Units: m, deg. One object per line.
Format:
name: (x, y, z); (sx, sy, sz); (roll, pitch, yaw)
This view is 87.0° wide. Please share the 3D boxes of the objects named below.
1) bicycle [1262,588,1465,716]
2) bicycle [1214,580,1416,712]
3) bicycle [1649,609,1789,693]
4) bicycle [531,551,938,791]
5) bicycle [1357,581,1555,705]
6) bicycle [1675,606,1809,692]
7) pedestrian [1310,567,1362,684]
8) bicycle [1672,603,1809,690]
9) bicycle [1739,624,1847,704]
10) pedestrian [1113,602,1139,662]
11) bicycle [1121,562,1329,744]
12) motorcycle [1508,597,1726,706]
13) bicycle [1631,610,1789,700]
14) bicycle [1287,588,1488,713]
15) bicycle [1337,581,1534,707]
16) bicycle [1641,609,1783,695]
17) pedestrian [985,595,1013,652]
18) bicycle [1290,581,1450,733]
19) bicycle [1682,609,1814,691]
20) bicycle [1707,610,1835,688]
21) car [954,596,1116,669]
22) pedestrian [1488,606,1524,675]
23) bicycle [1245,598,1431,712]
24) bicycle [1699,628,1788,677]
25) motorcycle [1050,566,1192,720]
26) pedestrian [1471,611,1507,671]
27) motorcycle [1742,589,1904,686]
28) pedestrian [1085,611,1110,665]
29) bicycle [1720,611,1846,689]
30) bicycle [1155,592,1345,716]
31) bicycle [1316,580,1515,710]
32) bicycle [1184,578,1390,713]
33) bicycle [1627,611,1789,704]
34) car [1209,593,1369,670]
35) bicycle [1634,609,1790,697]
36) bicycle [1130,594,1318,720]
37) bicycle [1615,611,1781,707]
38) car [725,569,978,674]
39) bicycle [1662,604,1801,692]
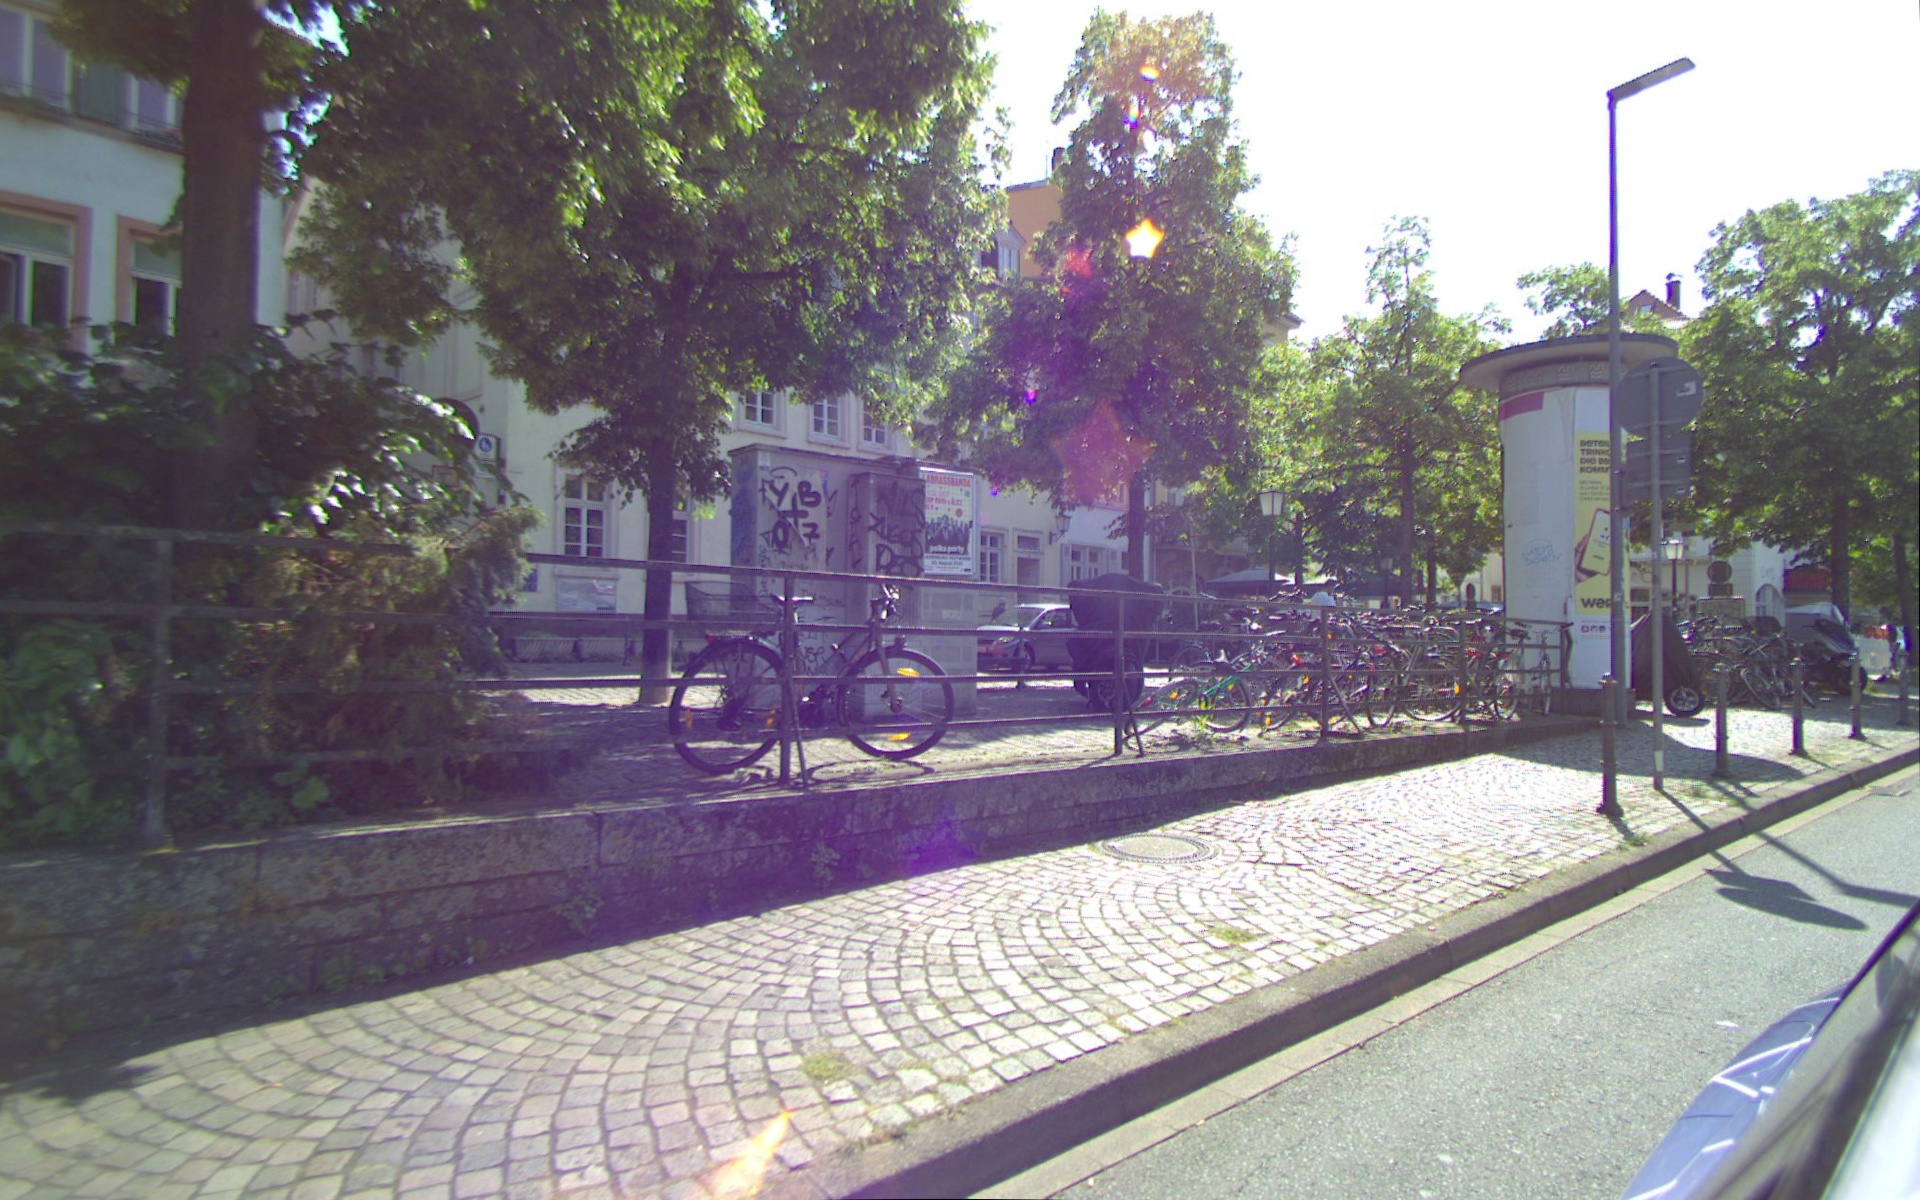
bicycle: (4.493, 0.529, 11.443); (0.468, 1.277, 2.160); (1, 1, -39)
bicycle: (3.796, 0.445, 11.014); (0.414, 1.277, 2.160); (1, 1, -39)
bicycle: (11.512, 0.747, 15.383); (0.406, 1.147, 1.629); (1, 1, -43)
bicycle: (-1.063, 0.336, 5.266); (2.123, 1.062, 0.301); (2, 0, -39)
bicycle: (6.139, 0.479, 12.665); (0.574, 1.385, 2.160); (1, 1, -39)
bicycle: (12.480, 0.755, 16.195); (0.406, 1.232, 1.629); (1, 1, -43)
pedestrian: (5.845, 0.394, 15.751); (0.492, 1.768, 0.541); (1, -3, -37)
bicycle: (12.201, 0.700, 15.864); (0.406, 1.232, 1.629); (1, 1, -43)
bicycle: (11.450, 0.852, 13.895); (1.718, 1.021, 0.541); (1, -1, -29)
pedestrian: (4.617, 0.877, 28.169); (0.616, 1.633, 0.425); (1, -1, -39)
bicycle: (2.143, 0.367, 7.979); (2.125, 1.277, 0.476); (0, 1, -42)
motorcycle: (8.504, 0.608, 13.291); (0.709, 1.291, 2.543); (0, 0, -17)
bicycle: (10.728, 0.758, 14.528); (0.456, 1.147, 1.751); (1, 1, -43)
bicycle: (4.894, 0.530, 11.738); (0.468, 1.277, 2.160); (1, 1, -39)
bicycle: (5.726, 0.478, 12.329); (0.468, 1.385, 2.160); (1, 1, -39)
bicycle: (11.190, 0.750, 15.105); (0.406, 1.147, 1.629); (1, 1, -43)
pedestrian: (1.028, 0.608, 26.814); (0.557, 1.495, 0.508); (1, -1, -39)
bicycle: (3.847, 0.478, 9.398); (2.125, 1.277, 0.476); (0, 1, -42)
bicycle: (12.718, 0.779, 16.377); (0.344, 1.184, 1.629); (1, 1, -43)
bicycle: (13.324, 0.782, 16.676); (0.416, 1.185, 1.636); (2, 0, -21)
car: (1.737, 0.740, 22.772); (3.496, 1.497, 1.587); (3, -2, -39)
pedestrian: (11.960, 0.873, 22.166); (0.569, 1.478, 0.494); (1, -1, -35)
bicycle: (4.129, 0.565, 11.218); (0.332, 1.106, 2.028); (1, 1, -39)
bicycle: (20.107, 1.331, 26.020); (0.322, 1.145, 1.888); (2, -1, -24)
motorcycle: (1.491, 0.350, 9.836); (0.635, 1.329, 2.167); (1, 1, -11)
pedestrian: (11.424, 0.874, 21.858); (0.569, 1.280, 0.494); (1, -1, -35)
motorcycle: (14.693, 0.604, 17.339); (0.783, 1.547, 2.203); (0, 0, -4)
pedestrian: (3.902, 1.071, 28.756); (0.424, 1.495, 0.606); (0, -1, 43)
bicycle: (13.604, 0.798, 16.788); (0.359, 1.185, 1.636); (2, 0, -21)
bicycle: (2.956, 0.505, 10.518); (0.468, 1.126, 1.967); (1, 1, -39)
bicycle: (5.338, 0.478, 12.016); (0.468, 1.385, 2.160); (1, 1, -39)
bicycle: (3.408, 0.419, 10.770); (0.468, 1.277, 2.160); (1, 1, -39)
bicycle: (10.443, 0.769, 14.185); (0.456, 1.147, 1.751); (1, 1, -43)
car: (8.504, 0.877, 26.013); (4.380, 1.815, 1.837); (3, -5, -39)
bicycle: (11.006, 0.748, 14.861); (0.456, 1.147, 1.751); (1, 1, -43)
bicycle: (2.610, 0.519, 10.214); (0.415, 1.114, 1.954); (1, 1, -39)
bicycle: (10.065, 0.770, 13.842); (1.749, 1.147, 0.531); (3, 1, 45)
car: (-2.018, 0.453, 19.743); (4.650, 1.823, 1.835); (3, -2, -39)
bicycle: (11.870, 0.706, 15.616); (0.406, 1.232, 1.629); (1, 1, -43)
